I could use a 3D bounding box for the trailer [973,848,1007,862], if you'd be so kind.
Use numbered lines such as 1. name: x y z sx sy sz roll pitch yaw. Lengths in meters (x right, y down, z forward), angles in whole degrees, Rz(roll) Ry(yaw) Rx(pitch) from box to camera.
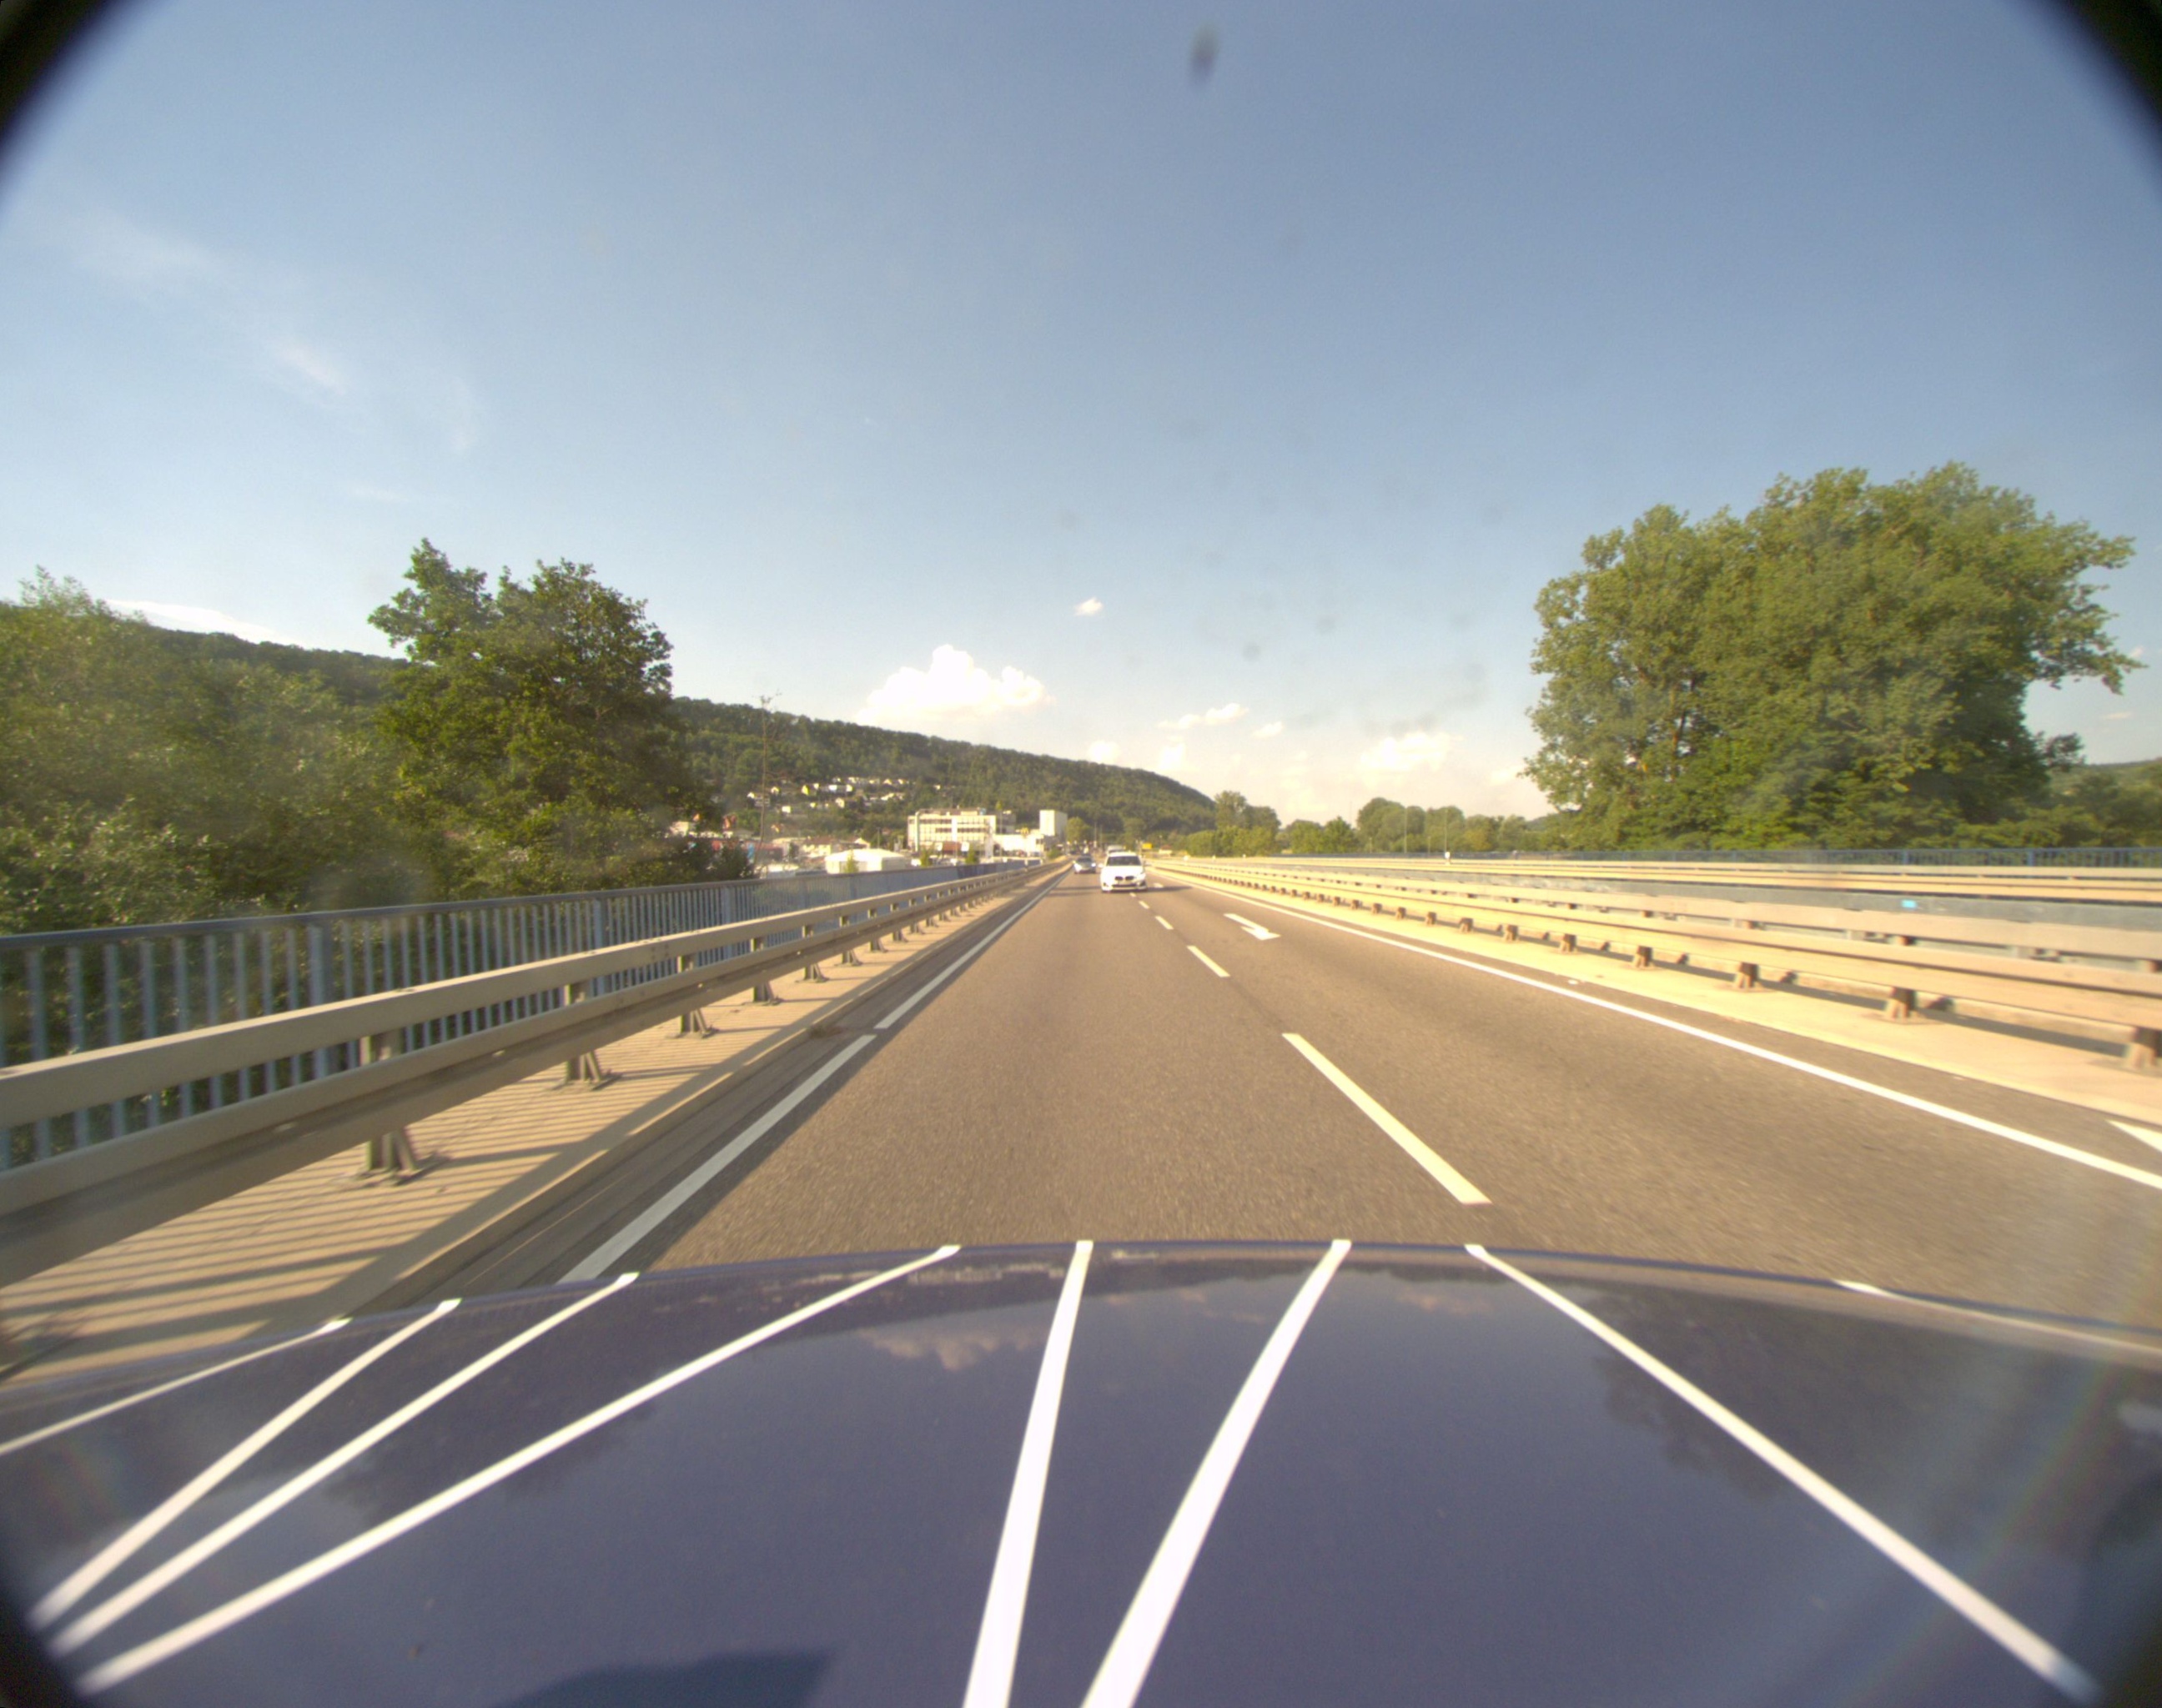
1. trailer: -23.511 0.234 196.498 7.896 3.304 3.359 -2 2 5

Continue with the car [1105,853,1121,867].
1. car: 3.553 0.649 85.733 1.690 1.383 3.883 -1 1 1

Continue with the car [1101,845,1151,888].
1. car: 1.755 0.459 30.945 1.825 1.552 3.999 -2 1 1

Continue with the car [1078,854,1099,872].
1. car: 0.616 0.708 62.845 1.690 1.383 3.883 -1 1 1
